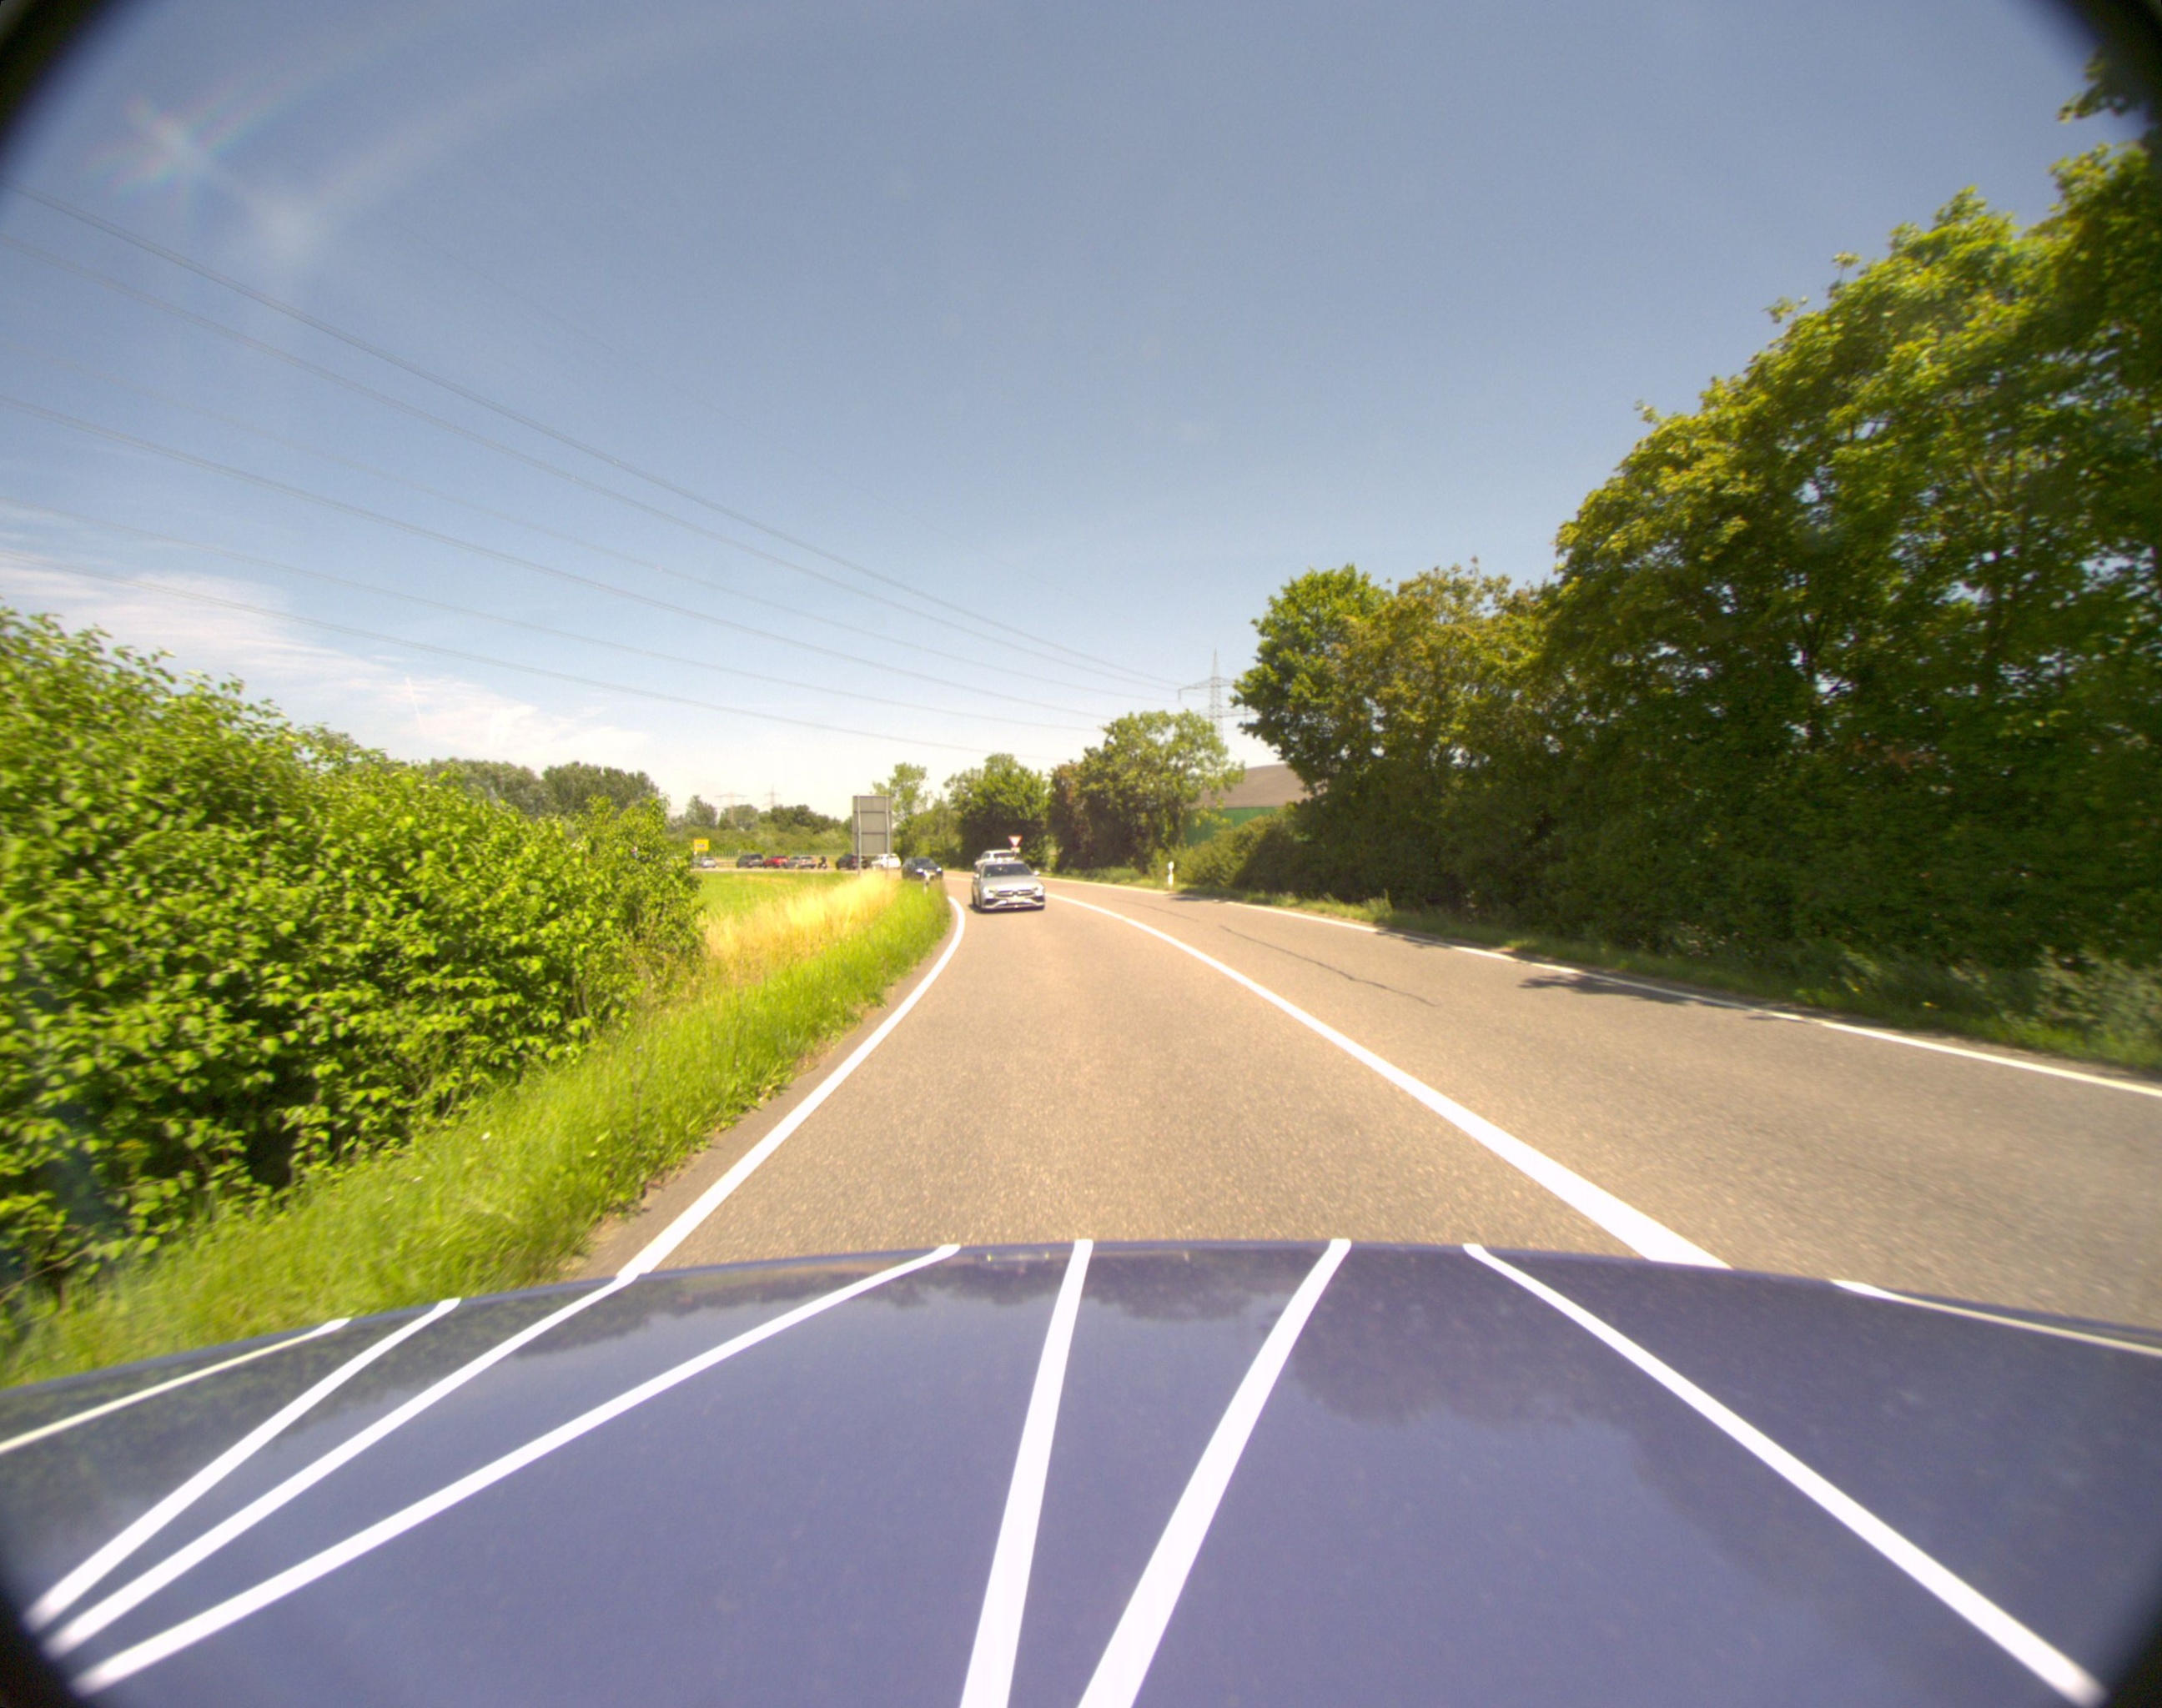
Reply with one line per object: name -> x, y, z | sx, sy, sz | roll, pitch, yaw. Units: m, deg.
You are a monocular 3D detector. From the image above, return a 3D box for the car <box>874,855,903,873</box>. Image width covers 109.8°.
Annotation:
car -> -17.380, 0.857, 68.641 | 1.543, 1.435, 3.598 | -4, 3, -29

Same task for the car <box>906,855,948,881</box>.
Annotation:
car -> -9.568, 0.830, 47.128 | 1.827, 1.431, 4.140 | -1, 1, -22

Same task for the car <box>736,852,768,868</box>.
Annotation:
car -> -40.336, 0.677, 93.001 | 4.425, 1.822, 1.936 | 0, 2, 43

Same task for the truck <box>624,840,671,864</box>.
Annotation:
truck -> -62.707, -0.292, 109.960 | 7.588, 3.451, 2.615 | 0, 1, 33

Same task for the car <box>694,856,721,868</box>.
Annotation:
car -> -49.254, 1.037, 100.120 | 3.996, 1.451, 1.640 | -1, 1, 40

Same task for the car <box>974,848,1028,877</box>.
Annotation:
car -> -4.930, 0.507, 46.384 | 1.863, 1.592, 4.768 | -3, 1, -23

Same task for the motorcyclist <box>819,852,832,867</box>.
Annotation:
motorcyclist -> -27.095, 0.575, 80.568 | 1.127, 1.487, 0.785 | 1, 3, 45

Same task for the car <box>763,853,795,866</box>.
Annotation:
car -> -35.154, 0.627, 88.437 | 1.808, 1.507, 4.378 | -2, 2, -45

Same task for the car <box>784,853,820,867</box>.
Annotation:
car -> -30.826, 0.642, 83.845 | 1.851, 1.452, 4.794 | -3, 3, -45

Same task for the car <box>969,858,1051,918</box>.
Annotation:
car -> -2.215, 0.934, 22.644 | 1.826, 1.478, 4.143 | -3, 1, -13

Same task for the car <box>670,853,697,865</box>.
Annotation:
car -> -55.051, 0.681, 105.156 | 4.318, 1.611, 1.781 | -1, 3, 40

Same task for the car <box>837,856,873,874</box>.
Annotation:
car -> -22.256, 1.070, 74.791 | 1.710, 1.629, 4.237 | -4, 3, -42

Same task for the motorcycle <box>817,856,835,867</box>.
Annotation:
motorcycle -> -27.045, 0.774, 80.562 | 2.422, 1.117, 0.785 | 1, 4, 45
